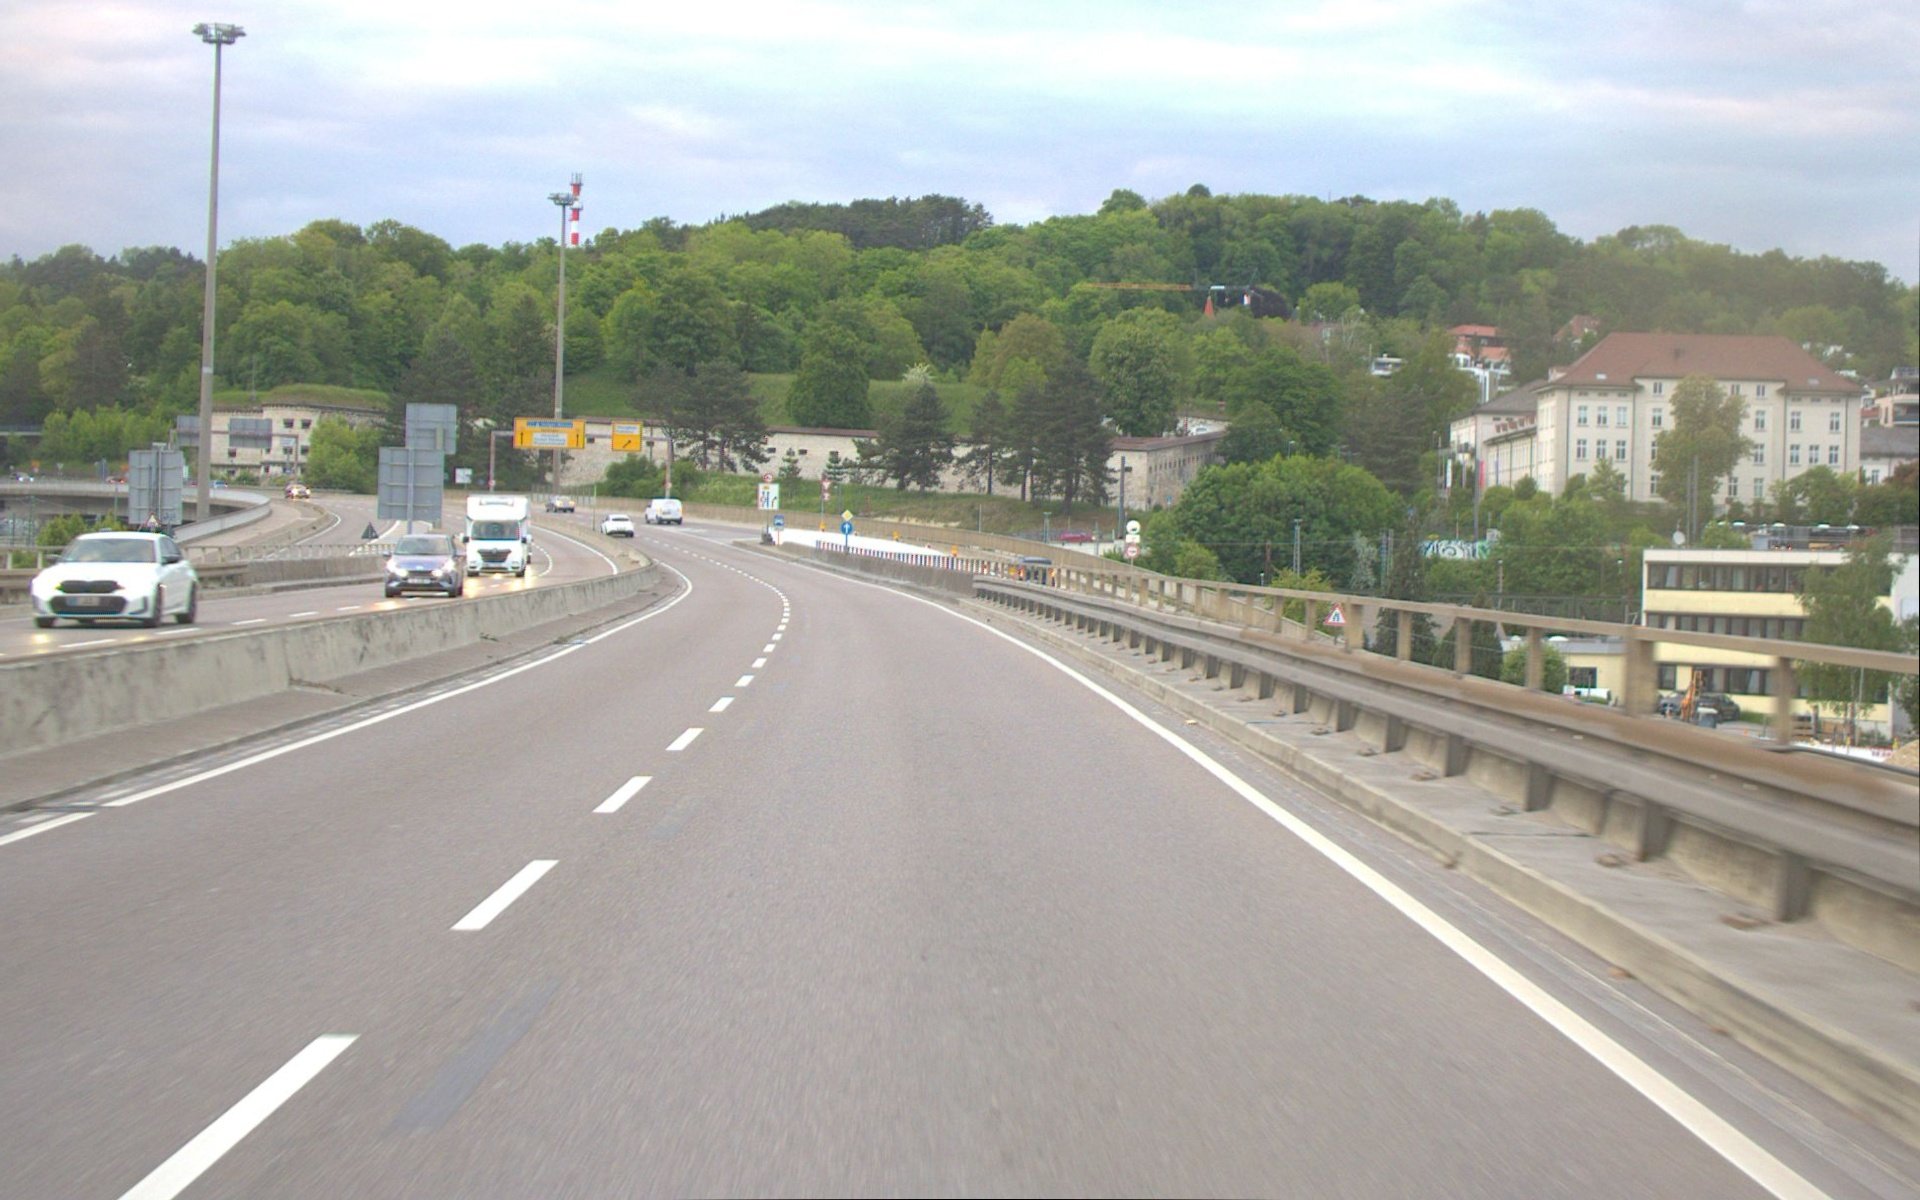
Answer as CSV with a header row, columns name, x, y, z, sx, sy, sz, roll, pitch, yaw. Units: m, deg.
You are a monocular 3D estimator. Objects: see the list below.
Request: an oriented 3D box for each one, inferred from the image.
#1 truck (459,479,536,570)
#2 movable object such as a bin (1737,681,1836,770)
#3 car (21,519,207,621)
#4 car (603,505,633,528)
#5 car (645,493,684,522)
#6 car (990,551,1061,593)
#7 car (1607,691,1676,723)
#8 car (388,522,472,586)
name,x,y,z,sx,sy,sz,roll,pitch,yaw
truck,-17.339,-2.811,129.152,2.534,3.285,7.448,1,1,-5
movable object such as a bin,46.140,6.992,192.035,2.774,4.295,4.959,7,0,-16
car,-12.936,-0.478,52.838,1.831,1.498,4.817,0,1,-2
car,-22.632,-5.517,227.272,1.630,1.383,4.002,0,2,-10
car,-22.383,-7.038,260.378,1.993,2.006,4.110,1,3,-17
car,3.026,-1.308,160.188,2.304,1.757,4.264,2,2,-12
car,42.158,6.631,212.638,3.987,1.560,1.832,5,3,-37
car,-12.636,-1.123,82.126,1.628,1.436,3.837,1,2,-3
